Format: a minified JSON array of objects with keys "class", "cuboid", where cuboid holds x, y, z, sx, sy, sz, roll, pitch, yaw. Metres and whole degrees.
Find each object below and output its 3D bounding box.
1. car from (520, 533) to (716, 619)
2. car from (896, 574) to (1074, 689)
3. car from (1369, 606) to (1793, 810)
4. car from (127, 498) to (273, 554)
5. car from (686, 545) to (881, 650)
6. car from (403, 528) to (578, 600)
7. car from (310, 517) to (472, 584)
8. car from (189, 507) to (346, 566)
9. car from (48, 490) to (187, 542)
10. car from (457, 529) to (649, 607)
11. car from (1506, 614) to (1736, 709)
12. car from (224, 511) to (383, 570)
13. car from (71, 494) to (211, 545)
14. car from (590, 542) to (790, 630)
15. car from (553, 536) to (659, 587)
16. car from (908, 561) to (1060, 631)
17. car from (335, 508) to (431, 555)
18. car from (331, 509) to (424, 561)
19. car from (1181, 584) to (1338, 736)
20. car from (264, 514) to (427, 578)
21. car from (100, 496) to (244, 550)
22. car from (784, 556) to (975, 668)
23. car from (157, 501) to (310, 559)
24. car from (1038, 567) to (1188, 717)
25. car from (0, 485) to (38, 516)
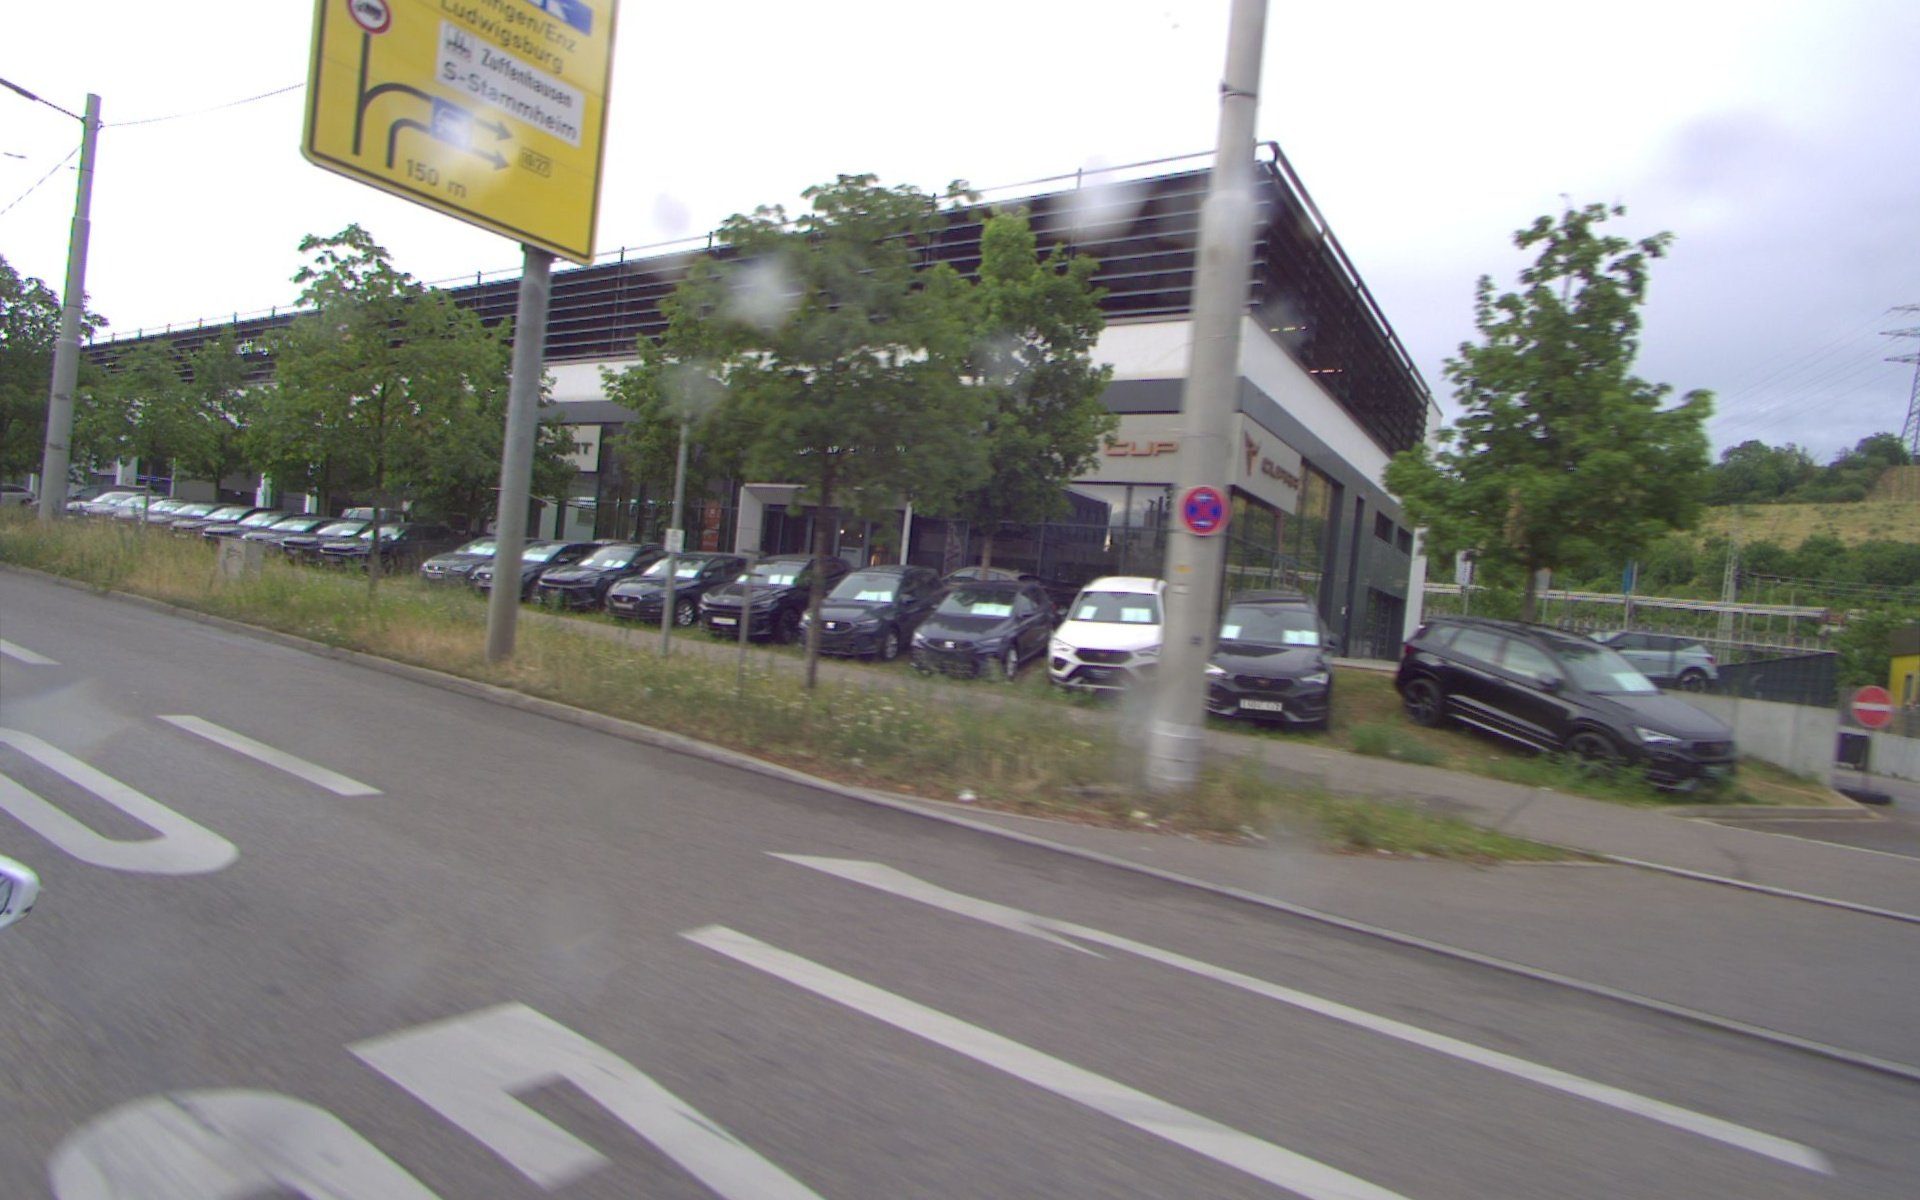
[{"class":"car","cuboid":[-7.945,-0.489,23.853,1.788,1.685,4.495,6,1,22]},{"class":"car","cuboid":[0.603,0.525,18.206,1.787,1.659,4.497,6,1,19]},{"class":"car","cuboid":[7.864,1.272,13.330,1.853,1.841,4.364,5,3,-22]},{"class":"car","cuboid":[-27.878,-2.672,37.093,1.792,1.590,4.151,6,1,9]},{"class":"car","cuboid":[-3.535,-0.014,21.086,1.788,1.819,4.495,6,1,22]},{"class":"car","cuboid":[-12.204,-0.895,26.434,1.656,1.521,4.052,6,1,22]},{"class":"car","cuboid":[-16.482,-1.381,29.384,1.700,1.597,4.056,6,1,14]},{"class":"car","cuboid":[-23.280,-2.101,34.011,1.796,1.548,4.151,6,1,14]},{"class":"car","cuboid":[-34.834,-3.433,41.752,1.834,1.634,4.333,6,1,5]},{"class":"car","cuboid":[-10.108,-0.740,25.418,1.788,1.589,4.495,6,1,22]},{"class":"car","cuboid":[16.029,1.456,24.564,4.236,1.665,1.844,7,1,1]},{"class":"car","cuboid":[-21.100,-1.876,32.565,1.760,1.477,4.151,6,1,14]},{"class":"car","cuboid":[-32.517,-3.158,40.111,1.834,1.582,4.151,6,1,7]},{"class":"car","cuboid":[-5.896,-0.242,22.585,1.788,1.640,4.493,6,1,24]},{"class":"car","cuboid":[-13.341,-1.462,37.850,3.835,1.491,1.666,7,1,33]},{"class":"car","cuboid":[0.655,-0.123,28.442,3.835,1.491,1.781,7,1,33]},{"class":"car","cuboid":[-31.759,-3.733,55.456,1.913,2.001,4.029,6,0,33]},{"class":"car","cuboid":[-27.587,-3.102,47.605,4.357,1.963,1.888,7,1,33]},{"class":"car","cuboid":[4.697,0.822,15.489,1.844,1.813,4.387,6,1,19]},{"class":"car","cuboid":[-18.731,-1.606,30.888,1.760,1.554,4.151,6,1,14]},{"class":"car","cuboid":[-30.155,-2.908,38.663,1.792,1.625,4.151,6,1,9]},{"class":"car","cuboid":[-1.409,0.238,19.698,1.788,1.775,4.495,6,1,22]},{"class":"car","cuboid":[-25.519,-2.413,35.533,1.873,1.590,4.151,6,1,11]},{"class":"car","cuboid":[2.721,0.623,16.940,1.787,2.017,4.498,6,1,16]},{"class":"car","cuboid":[-53.553,-5.617,55.366,1.715,1.484,4.098,5,1,1]}]
